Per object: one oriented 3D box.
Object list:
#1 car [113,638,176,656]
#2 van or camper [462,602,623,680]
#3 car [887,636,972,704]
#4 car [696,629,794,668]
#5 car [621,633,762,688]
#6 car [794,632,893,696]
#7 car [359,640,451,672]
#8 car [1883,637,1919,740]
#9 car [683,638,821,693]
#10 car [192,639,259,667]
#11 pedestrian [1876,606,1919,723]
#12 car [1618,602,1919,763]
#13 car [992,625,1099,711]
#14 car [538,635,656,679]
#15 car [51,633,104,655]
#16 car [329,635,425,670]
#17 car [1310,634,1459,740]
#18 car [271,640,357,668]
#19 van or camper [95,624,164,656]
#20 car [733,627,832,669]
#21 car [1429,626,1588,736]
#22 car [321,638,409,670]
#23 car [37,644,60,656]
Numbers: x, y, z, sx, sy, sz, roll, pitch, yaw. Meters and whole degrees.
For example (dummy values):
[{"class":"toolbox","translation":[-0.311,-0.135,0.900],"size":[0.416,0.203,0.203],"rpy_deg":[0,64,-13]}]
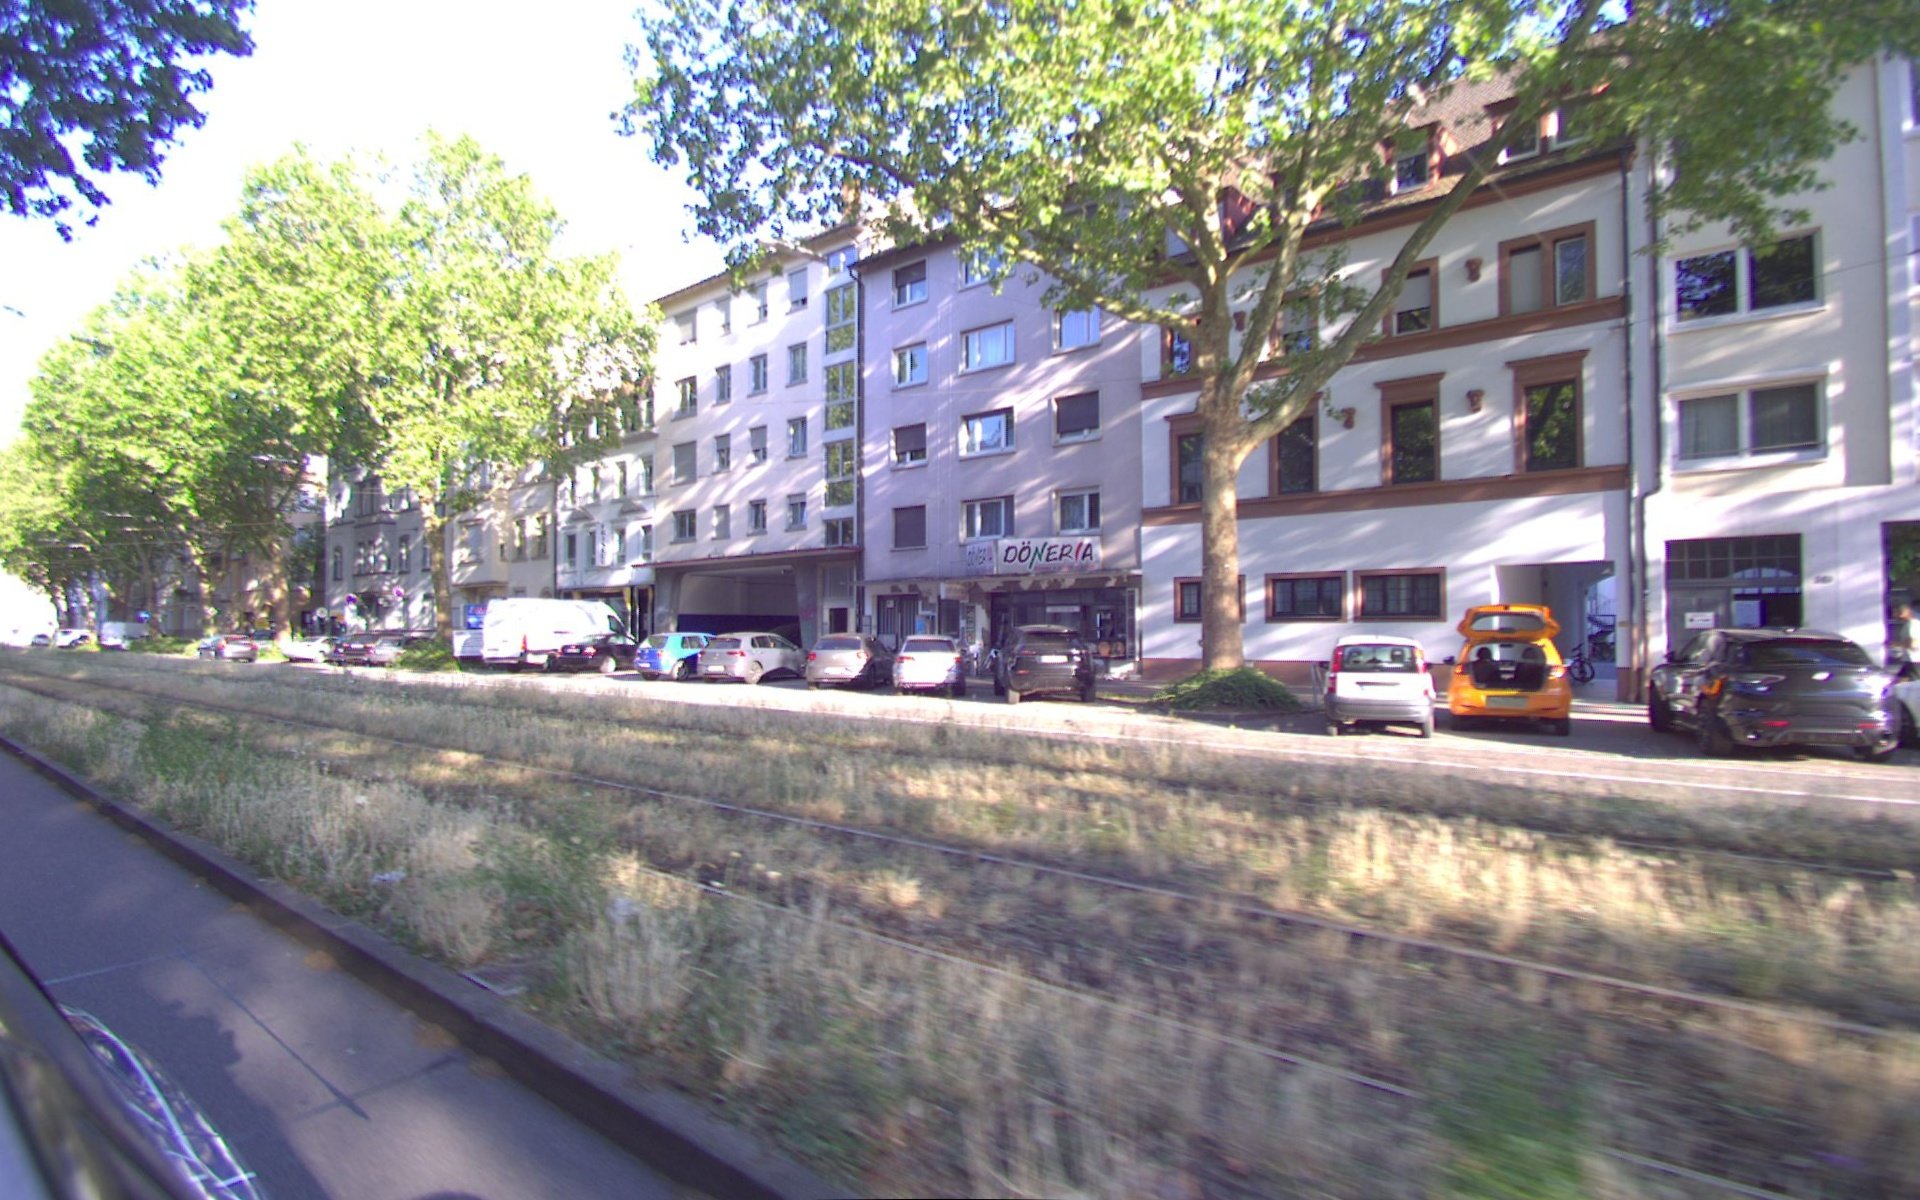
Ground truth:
[{"class":"car","translation":[-67.634,3.893,84.016],"size":[1.710,1.256,3.992],"rpy_deg":[-1,1,7]},{"class":"van or camper","translation":[-15.429,1.527,37.879],"size":[2.163,2.666,5.927],"rpy_deg":[-1,-2,20]},{"class":"car","translation":[-0.816,1.654,24.918],"size":[1.884,1.396,4.003],"rpy_deg":[-1,-1,-4]},{"class":"car","translation":[-9.684,2.150,45.856],"size":[1.998,1.553,3.947],"rpy_deg":[-1,0,39]},{"class":"car","translation":[-8.308,1.833,31.541],"size":[1.855,1.431,3.950],"rpy_deg":[-1,0,37]},{"class":"car","translation":[-3.020,1.655,26.988],"size":[1.735,1.433,3.991],"rpy_deg":[-1,0,7]},{"class":"car","translation":[-25.194,2.546,46.110],"size":[1.779,1.368,4.001],"rpy_deg":[0,-3,4]},{"class":"car","translation":[13.407,1.164,11.766],"size":[1.700,1.343,4.199],"rpy_deg":[-1,0,5]},{"class":"car","translation":[-6.041,1.877,29.797],"size":[1.941,1.503,3.962],"rpy_deg":[-1,-3,27]},{"class":"car","translation":[-38.636,2.792,53.183],"size":[4.481,1.400,1.801],"rpy_deg":[-2,-5,41]},{"class":"pedestrian","translation":[15.952,1.055,16.824],"size":[0.950,1.914,0.891],"rpy_deg":[-2,-2,38]},{"class":"car","translation":[10.856,1.068,13.708],"size":[1.976,1.800,4.342],"rpy_deg":[0,-4,15]},{"class":"car","translation":[1.765,1.417,22.261],"size":[1.972,1.673,3.999],"rpy_deg":[-1,-1,0]},{"class":"car","translation":[-13.079,2.039,36.728],"size":[1.985,1.502,3.974],"rpy_deg":[-1,-3,19]},{"class":"car","translation":[-88.730,4.422,101.812],"size":[1.971,2.029,4.001],"rpy_deg":[-1,0,-1]},{"class":"car","translation":[-27.690,2.538,48.251],"size":[1.912,1.605,4.154],"rpy_deg":[0,-4,4]},{"class":"car","translation":[6.901,1.326,16.859],"size":[1.643,1.460,4.343],"rpy_deg":[-1,-1,14]},{"class":"car","translation":[-33.872,2.807,53.141],"size":[1.806,1.400,3.669],"rpy_deg":[-1,-2,10]},{"class":"van or camper","translation":[-69.924,3.373,85.258],"size":[2.171,2.418,4.363],"rpy_deg":[-1,1,1]},{"class":"car","translation":[-7.691,2.059,44.130],"size":[1.904,1.733,3.946],"rpy_deg":[-1,-3,40]},{"class":"car","translation":[9.004,1.251,16.925],"size":[1.764,1.490,3.972],"rpy_deg":[-1,0,21]},{"class":"car","translation":[-29.848,2.736,50.912],"size":[1.803,1.545,3.993],"rpy_deg":[0,-4,5]},{"class":"car","translation":[-122.131,6.688,135.626],"size":[4.000,1.431,1.972],"rpy_deg":[-1,0,43]}]
